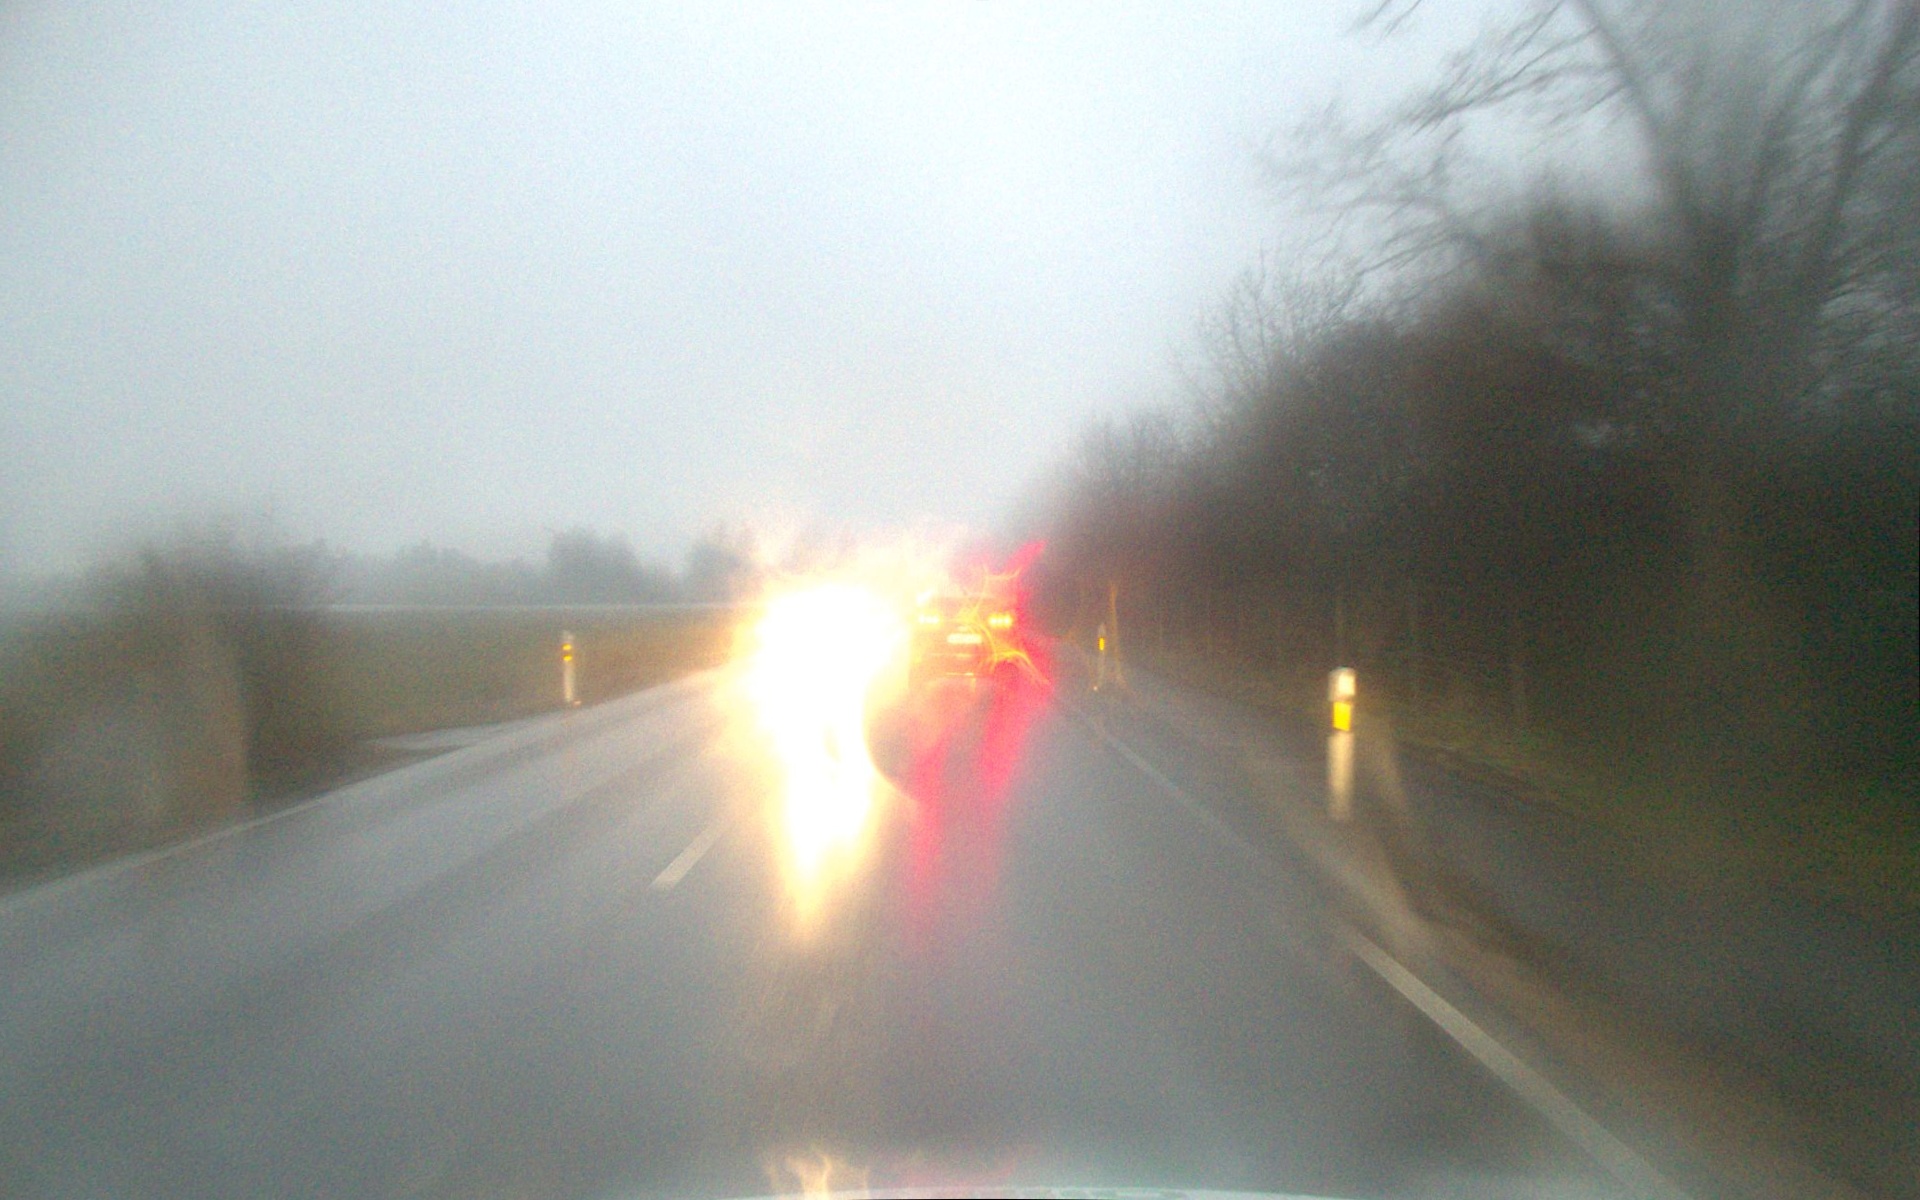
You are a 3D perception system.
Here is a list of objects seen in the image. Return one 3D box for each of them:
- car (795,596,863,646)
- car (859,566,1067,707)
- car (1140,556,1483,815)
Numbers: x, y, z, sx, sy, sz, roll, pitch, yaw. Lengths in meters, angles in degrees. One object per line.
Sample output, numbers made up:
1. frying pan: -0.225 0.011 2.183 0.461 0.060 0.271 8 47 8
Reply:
1. car: -4.471 0.700 57.075 1.953 1.489 4.351 -4 0 -1
2. car: 0.024 0.526 28.316 3.100 2.071 6.850 -1 0 -1
3. car: 2.657 0.602 13.475 1.889 1.780 3.999 1 0 -1
